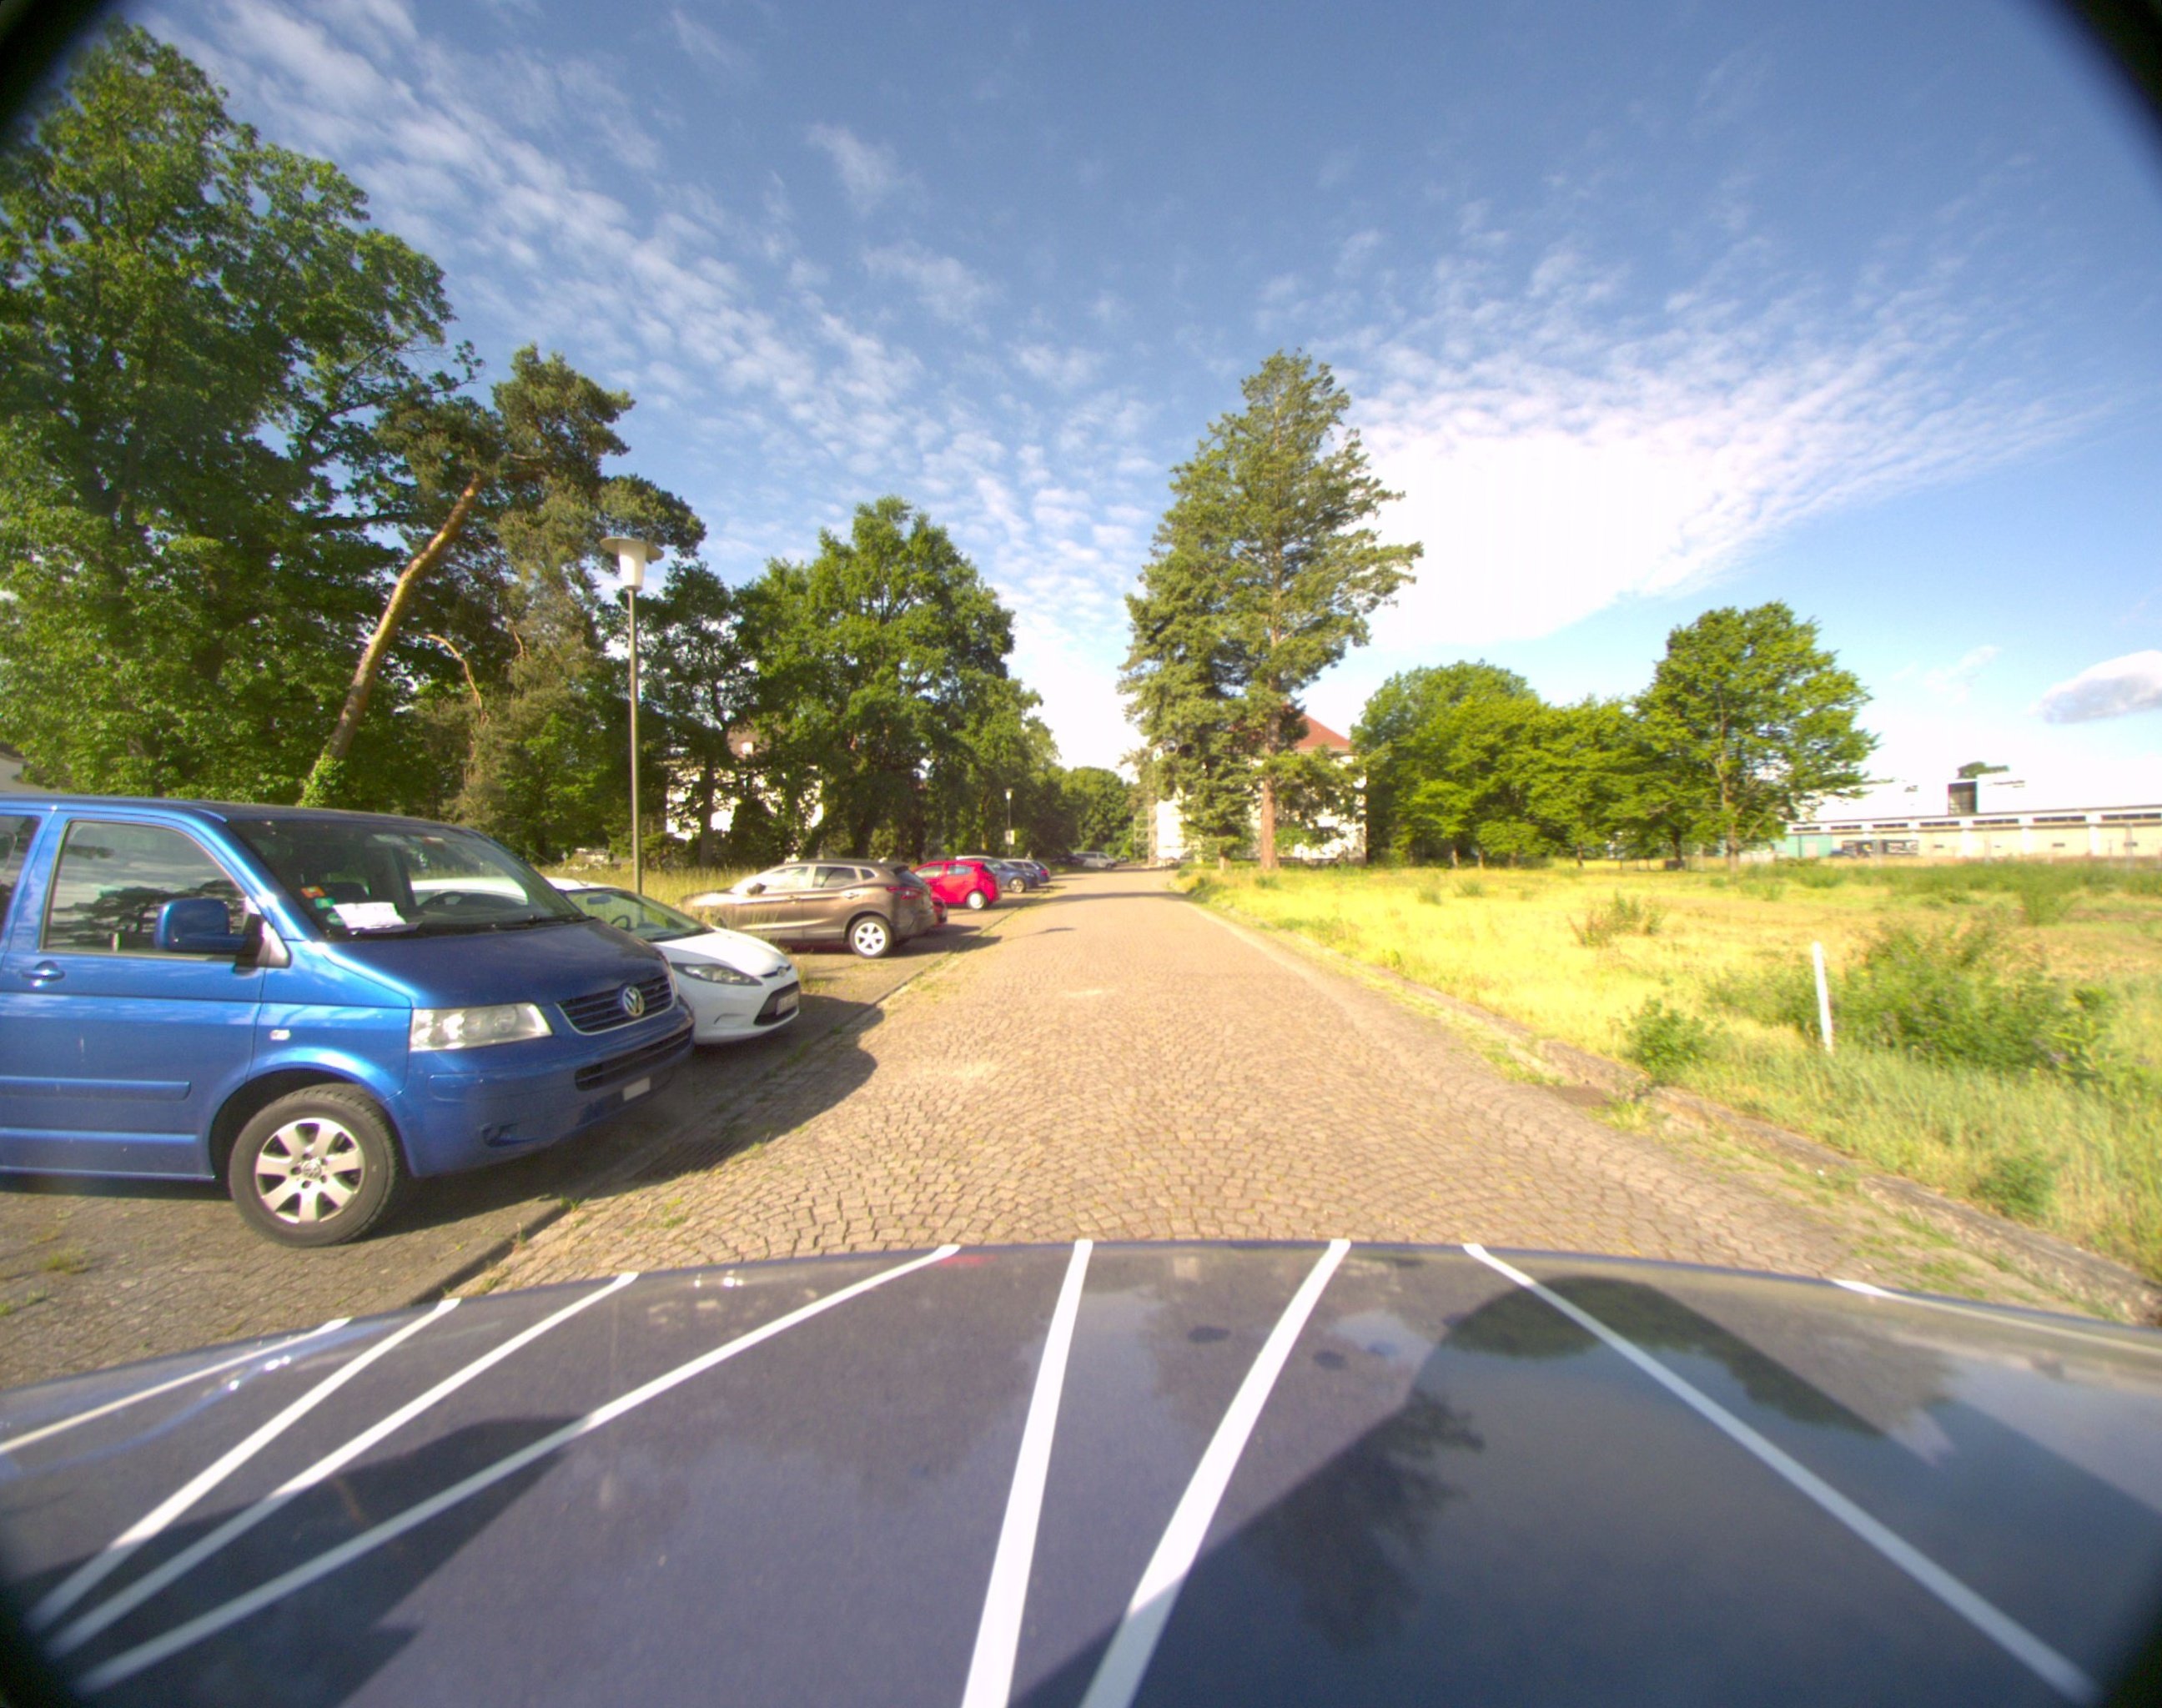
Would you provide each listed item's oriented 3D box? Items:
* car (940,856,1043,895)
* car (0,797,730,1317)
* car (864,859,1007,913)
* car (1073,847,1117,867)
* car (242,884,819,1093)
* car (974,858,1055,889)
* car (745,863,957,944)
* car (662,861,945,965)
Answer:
[{"bbox_3d":[-3.880,0.907,33.435,4.273,1.589,1.651,-1,1,1],"label":"car"},{"bbox_3d":[-4.726,0.760,4.045,4.765,2.002,2.000,1,1,2],"label":"car"},{"bbox_3d":[-4.357,0.951,23.155,3.996,1.487,1.540,-1,1,1],"label":"car"},{"bbox_3d":[1.590,0.319,86.980,4.993,2.123,2.164,-1,0,0],"label":"car"},{"bbox_3d":[-4.385,1.042,6.481,3.729,1.458,1.609,1,0,0],"label":"car"},{"bbox_3d":[-3.288,0.958,38.147,3.808,1.458,1.747,-1,1,3],"label":"car"},{"bbox_3d":[-4.644,0.969,15.697,3.834,1.530,1.703,0,1,2],"label":"car"},{"bbox_3d":[-4.530,0.941,12.853,4.117,1.602,1.786,0,0,0],"label":"car"}]
